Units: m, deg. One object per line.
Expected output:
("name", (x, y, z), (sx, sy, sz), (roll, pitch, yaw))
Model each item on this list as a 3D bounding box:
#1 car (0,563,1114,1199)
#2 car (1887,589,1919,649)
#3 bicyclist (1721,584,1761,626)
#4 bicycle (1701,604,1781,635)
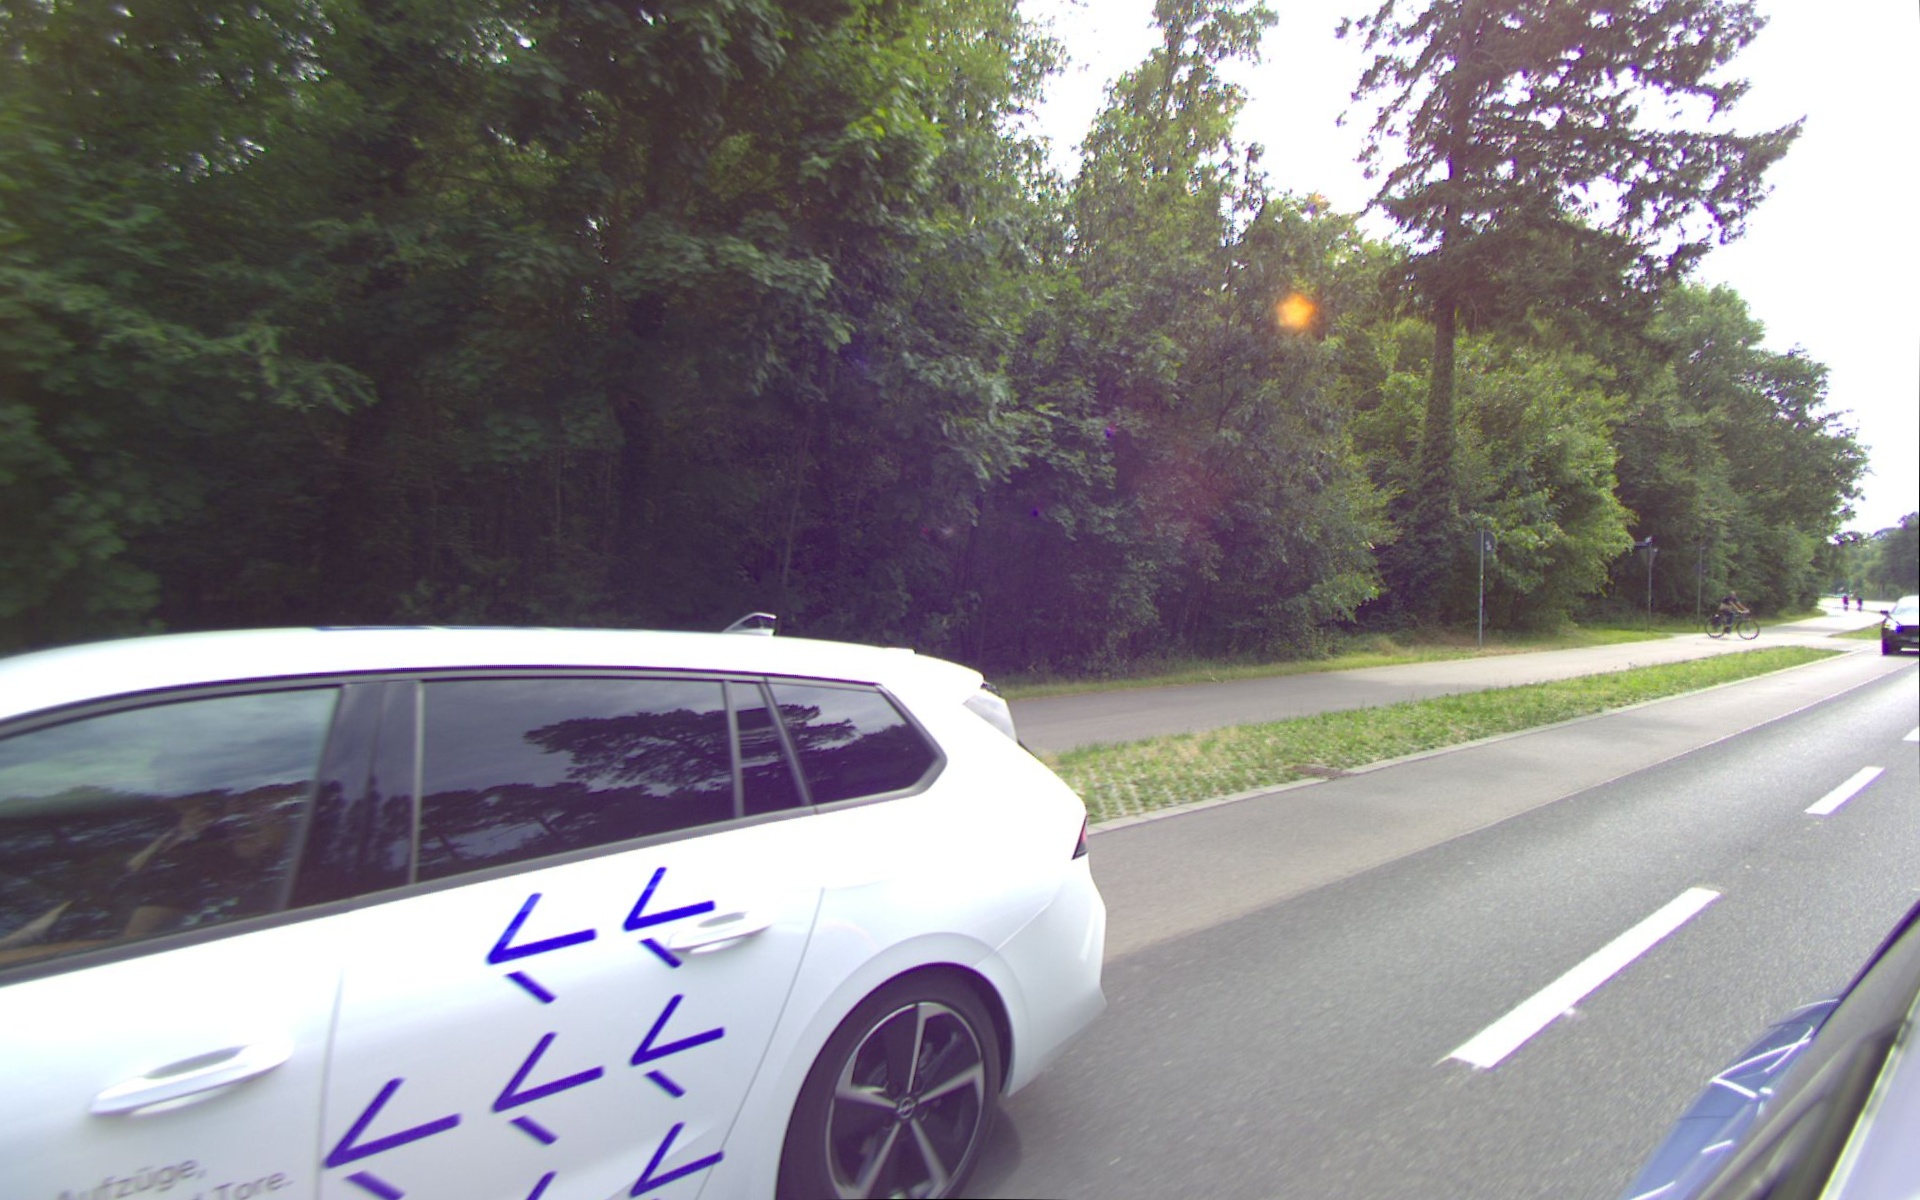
("car", (-1.858, 0.657, 1.928), (4.411, 1.428, 1.839), (1, 0, -41))
("car", (28.229, 0.501, 29.106), (3.934, 1.594, 1.995), (-2, 0, -43))
("bicyclist", (28.030, 0.180, 36.343), (0.696, 1.489, 0.903), (0, 1, -24))
("bicycle", (28.014, 0.684, 36.342), (0.696, 1.006, 2.185), (0, 1, -25))
